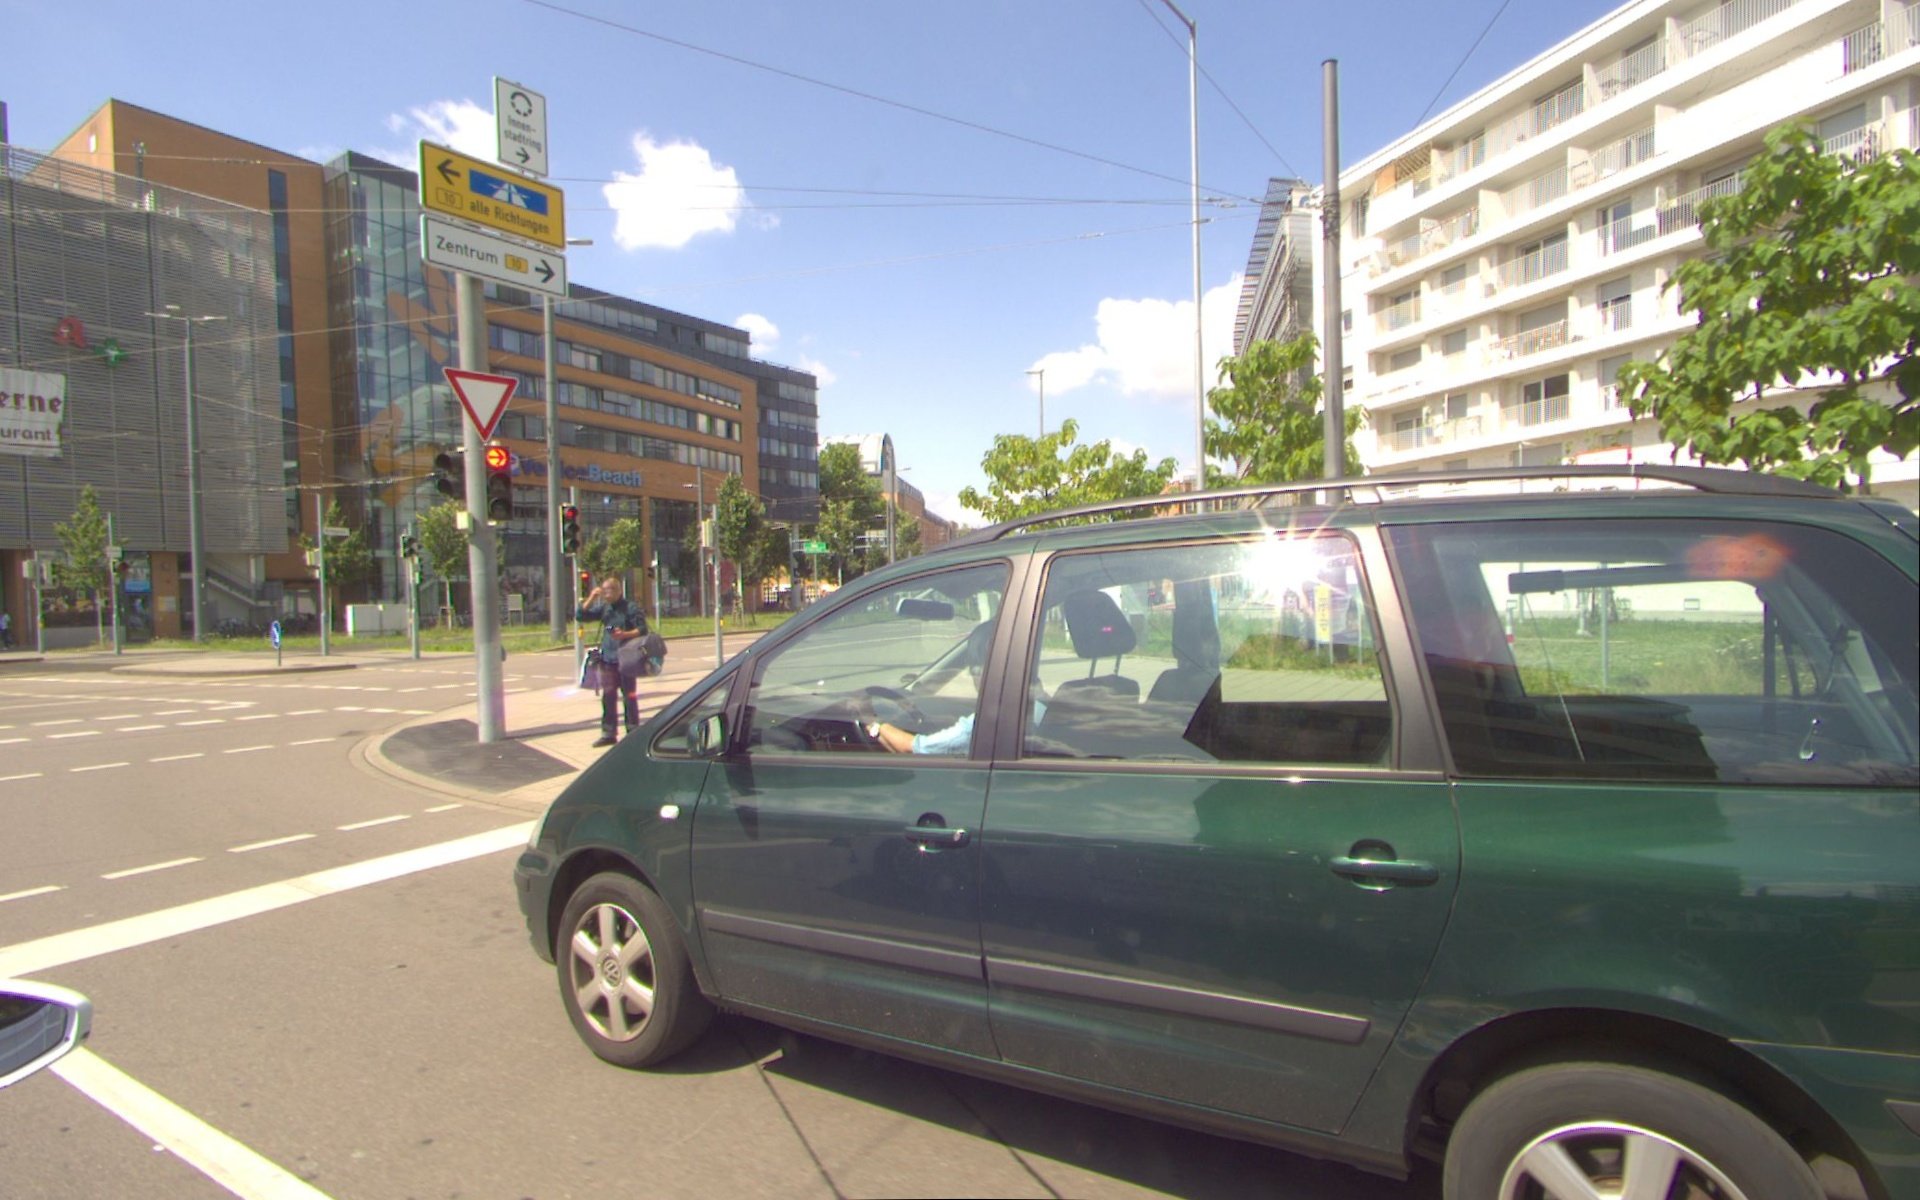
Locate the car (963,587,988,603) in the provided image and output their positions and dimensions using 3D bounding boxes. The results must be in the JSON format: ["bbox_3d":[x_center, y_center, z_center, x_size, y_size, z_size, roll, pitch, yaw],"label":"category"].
[{"bbox_3d":[2.113,-0.717,135.870,1.966,2.041,3.989,-1,1,22],"label":"car"}]

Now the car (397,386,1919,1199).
[{"bbox_3d":[0.446,0.588,3.262,4.959,1.779,1.815,-1,0,32],"label":"car"}]

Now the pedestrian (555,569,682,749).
[{"bbox_3d":[-3.430,0.571,10.127,0.901,1.726,0.808,-2,2,5],"label":"pedestrian"}]

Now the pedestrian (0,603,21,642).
[{"bbox_3d":[-43.565,1.045,45.893,0.620,1.769,0.616,0,1,34],"label":"pedestrian"}]

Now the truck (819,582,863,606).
[{"bbox_3d":[-10.978,-0.522,92.956,1.964,2.113,5.515,0,0,17],"label":"truck"}]
